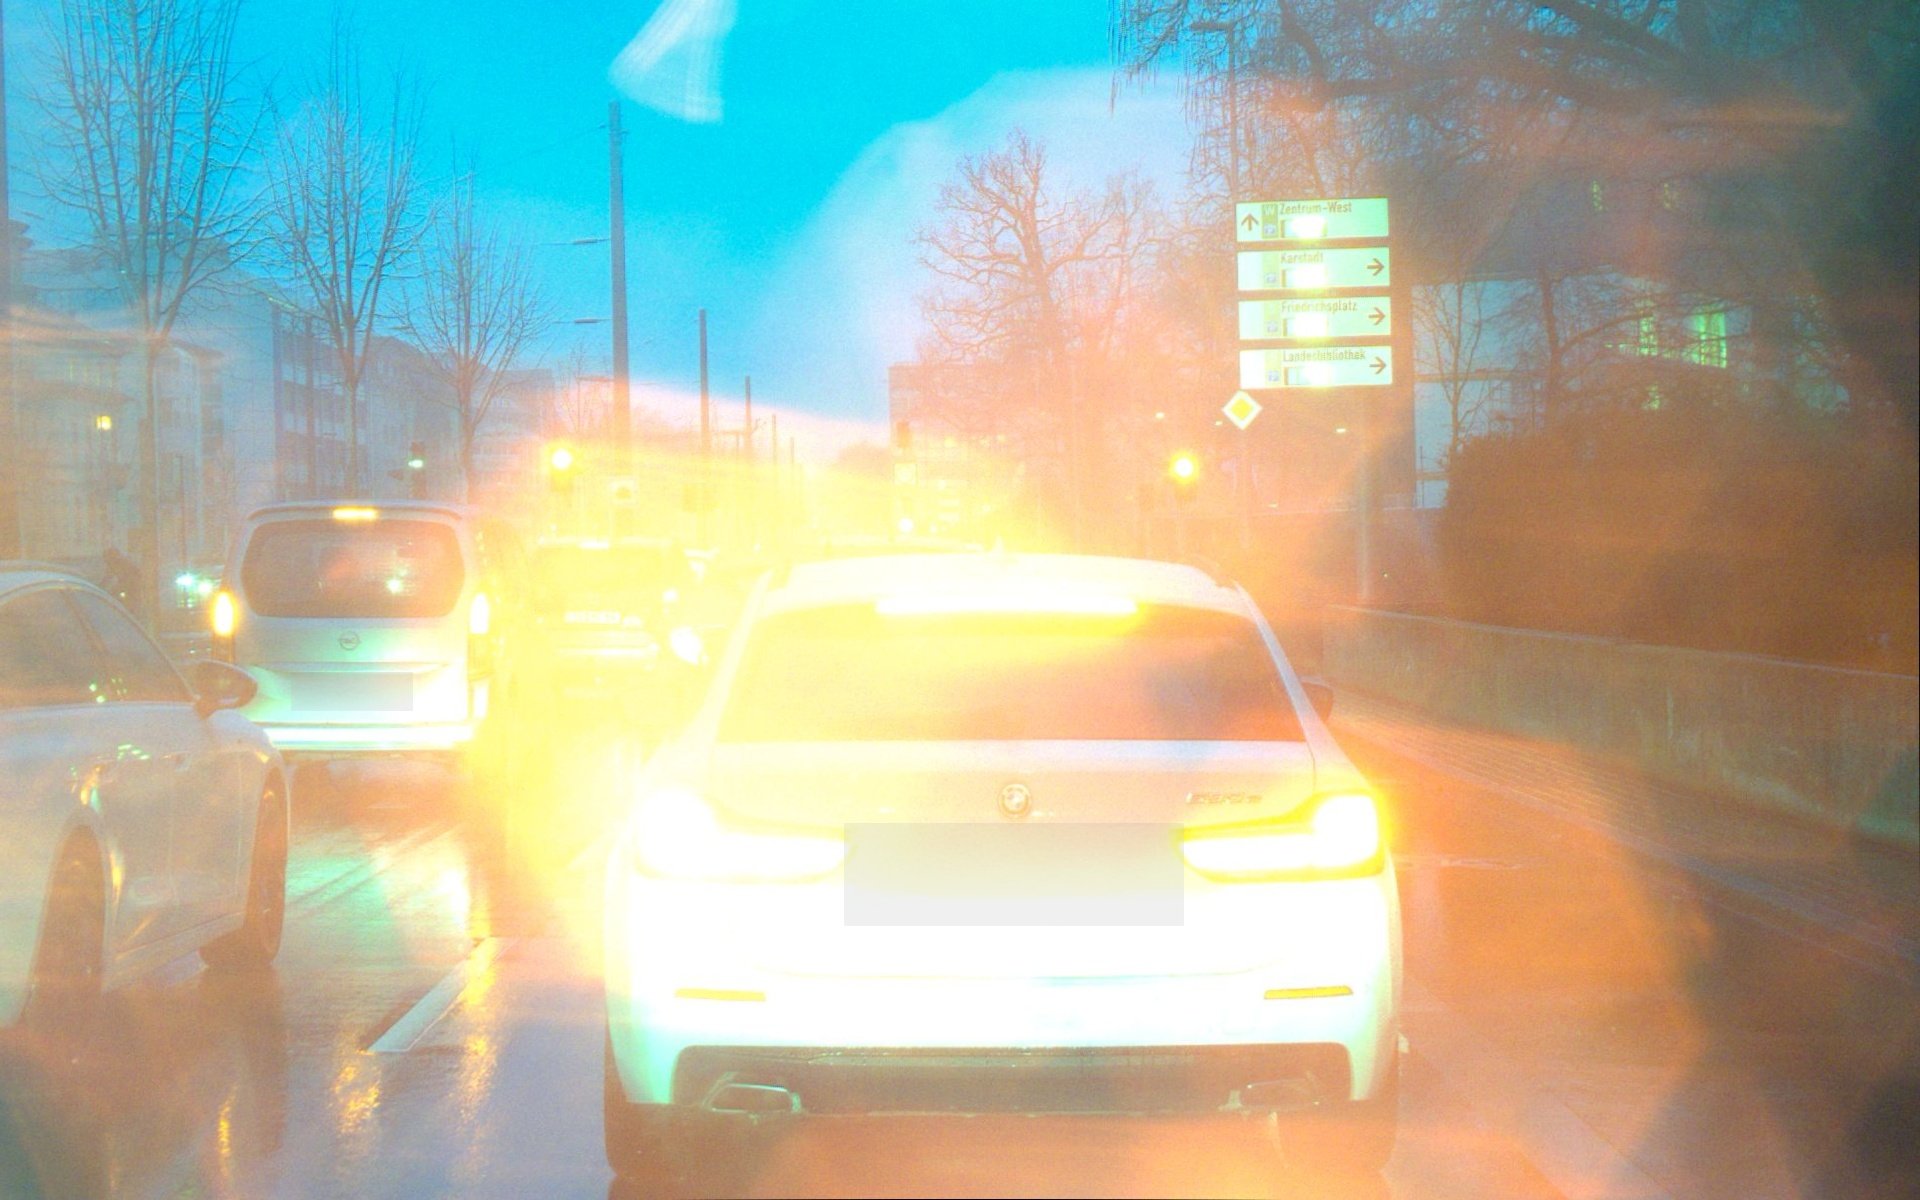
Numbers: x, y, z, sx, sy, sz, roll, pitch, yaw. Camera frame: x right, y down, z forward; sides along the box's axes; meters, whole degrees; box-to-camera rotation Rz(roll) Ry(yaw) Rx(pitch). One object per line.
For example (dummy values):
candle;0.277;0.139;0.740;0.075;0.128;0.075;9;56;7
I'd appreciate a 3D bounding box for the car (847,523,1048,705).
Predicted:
car;-0.133;0.089;32.926;1.806;1.640;4.000;0;1;-1

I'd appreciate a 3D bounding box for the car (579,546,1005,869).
car;-0.790;0.457;17.773;1.936;1.452;4.164;0;1;-1

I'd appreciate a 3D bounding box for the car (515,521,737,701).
car;-3.177;0.060;33.389;1.806;1.640;4.000;0;1;-1

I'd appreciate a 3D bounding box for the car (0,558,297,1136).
car;-3.319;0.572;10.456;1.846;1.400;4.614;0;1;-2

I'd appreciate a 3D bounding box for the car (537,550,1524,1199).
car;0.122;0.634;9.059;1.999;1.503;4.164;0;1;-1

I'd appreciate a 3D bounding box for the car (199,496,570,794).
car;-3.602;0.234;22.256;1.793;1.730;4.538;0;1;-2
